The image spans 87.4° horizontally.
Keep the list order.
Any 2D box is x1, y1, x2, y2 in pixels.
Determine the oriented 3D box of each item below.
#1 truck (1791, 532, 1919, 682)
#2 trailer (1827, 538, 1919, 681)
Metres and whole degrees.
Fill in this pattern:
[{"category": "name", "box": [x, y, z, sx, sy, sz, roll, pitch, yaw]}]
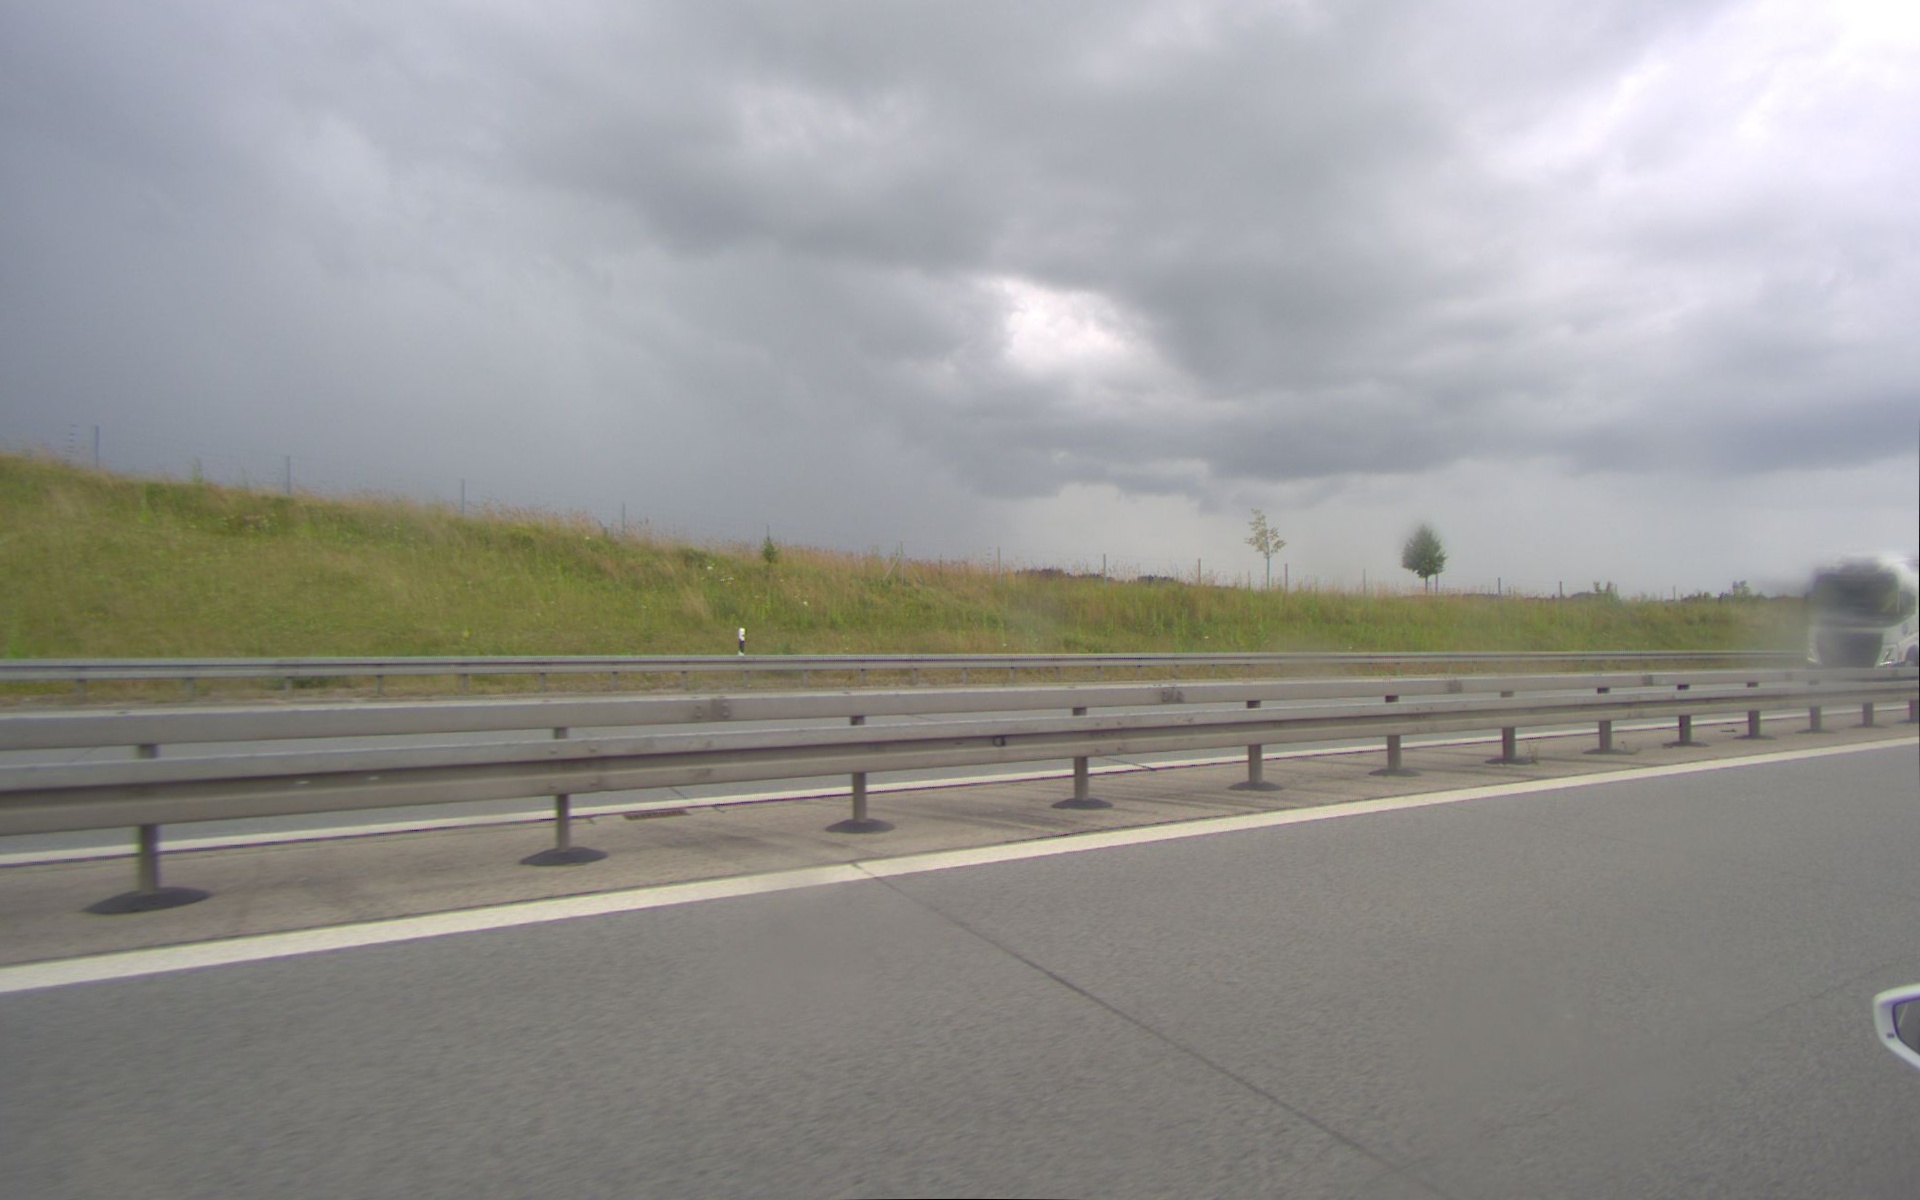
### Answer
[{"category": "truck", "box": [31.656, 0.310, 34.392, 6.839, 4.709, 2.782, 1, -1, -30]}, {"category": "trailer", "box": [37.484, 0.477, 37.837, 14.673, 4.711, 2.782, 1, -1, -30]}]
